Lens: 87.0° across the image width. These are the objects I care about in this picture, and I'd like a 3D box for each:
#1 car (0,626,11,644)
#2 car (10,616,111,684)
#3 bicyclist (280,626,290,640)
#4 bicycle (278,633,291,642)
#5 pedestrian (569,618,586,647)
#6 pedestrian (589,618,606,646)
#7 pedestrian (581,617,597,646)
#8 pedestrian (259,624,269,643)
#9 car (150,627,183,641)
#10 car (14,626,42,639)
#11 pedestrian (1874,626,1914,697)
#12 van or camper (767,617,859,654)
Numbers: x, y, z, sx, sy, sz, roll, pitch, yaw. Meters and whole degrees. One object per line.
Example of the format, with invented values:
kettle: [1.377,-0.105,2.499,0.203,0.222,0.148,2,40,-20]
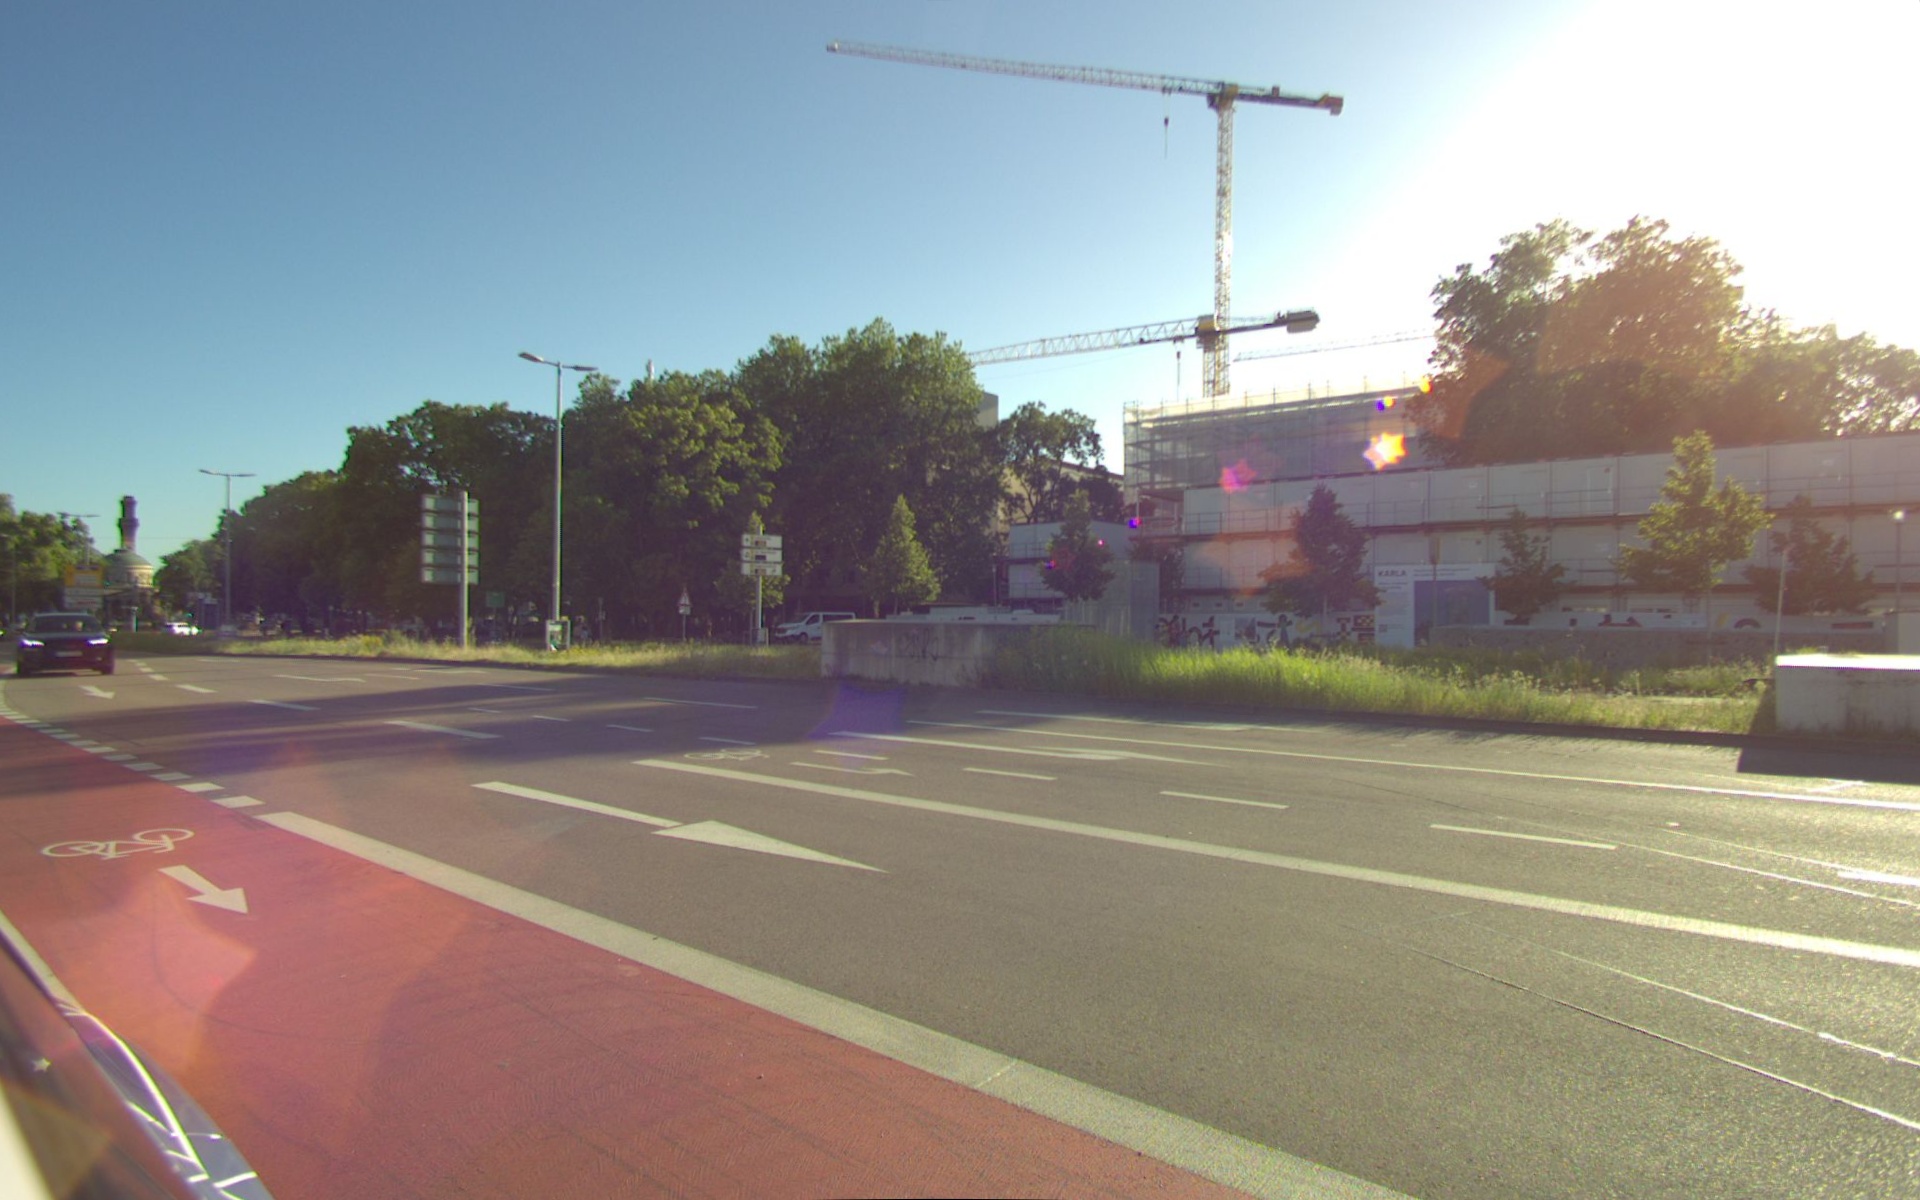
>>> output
car: [-76.246,2.748,79.434,4.484,1.417,1.974,-1,0,40]
car: [-24.437,1.292,27.447,1.909,1.656,4.621,1,-1,-43]
bicyclist: [-63.751,3.102,95.538,0.714,1.291,0.603,-1,-2,40]
bicycle: [-63.752,3.521,95.527,1.744,0.849,0.602,-1,-2,40]
pedestrian: [-23.208,1.982,61.422,0.762,1.738,0.698,-1,-2,41]
pedestrian: [-22.400,1.991,62.521,0.762,1.738,0.698,-2,-2,42]
pedestrian: [-22.786,1.940,62.119,0.762,1.738,0.656,-1,-2,41]
pedestrian: [-68.970,3.283,100.312,0.618,1.862,0.926,1,-2,-43]
car: [-86.668,3.664,110.586,1.965,1.519,4.013,1,-2,-26]
car: [-108.136,3.771,117.356,3.996,1.409,1.849,-1,-2,39]
pedestrian: [22.475,1.453,24.364,0.626,1.665,0.930,-1,-2,41]
van or camper: [-8.929,2.135,61.942,1.948,2.029,5.576,-1,0,42]
